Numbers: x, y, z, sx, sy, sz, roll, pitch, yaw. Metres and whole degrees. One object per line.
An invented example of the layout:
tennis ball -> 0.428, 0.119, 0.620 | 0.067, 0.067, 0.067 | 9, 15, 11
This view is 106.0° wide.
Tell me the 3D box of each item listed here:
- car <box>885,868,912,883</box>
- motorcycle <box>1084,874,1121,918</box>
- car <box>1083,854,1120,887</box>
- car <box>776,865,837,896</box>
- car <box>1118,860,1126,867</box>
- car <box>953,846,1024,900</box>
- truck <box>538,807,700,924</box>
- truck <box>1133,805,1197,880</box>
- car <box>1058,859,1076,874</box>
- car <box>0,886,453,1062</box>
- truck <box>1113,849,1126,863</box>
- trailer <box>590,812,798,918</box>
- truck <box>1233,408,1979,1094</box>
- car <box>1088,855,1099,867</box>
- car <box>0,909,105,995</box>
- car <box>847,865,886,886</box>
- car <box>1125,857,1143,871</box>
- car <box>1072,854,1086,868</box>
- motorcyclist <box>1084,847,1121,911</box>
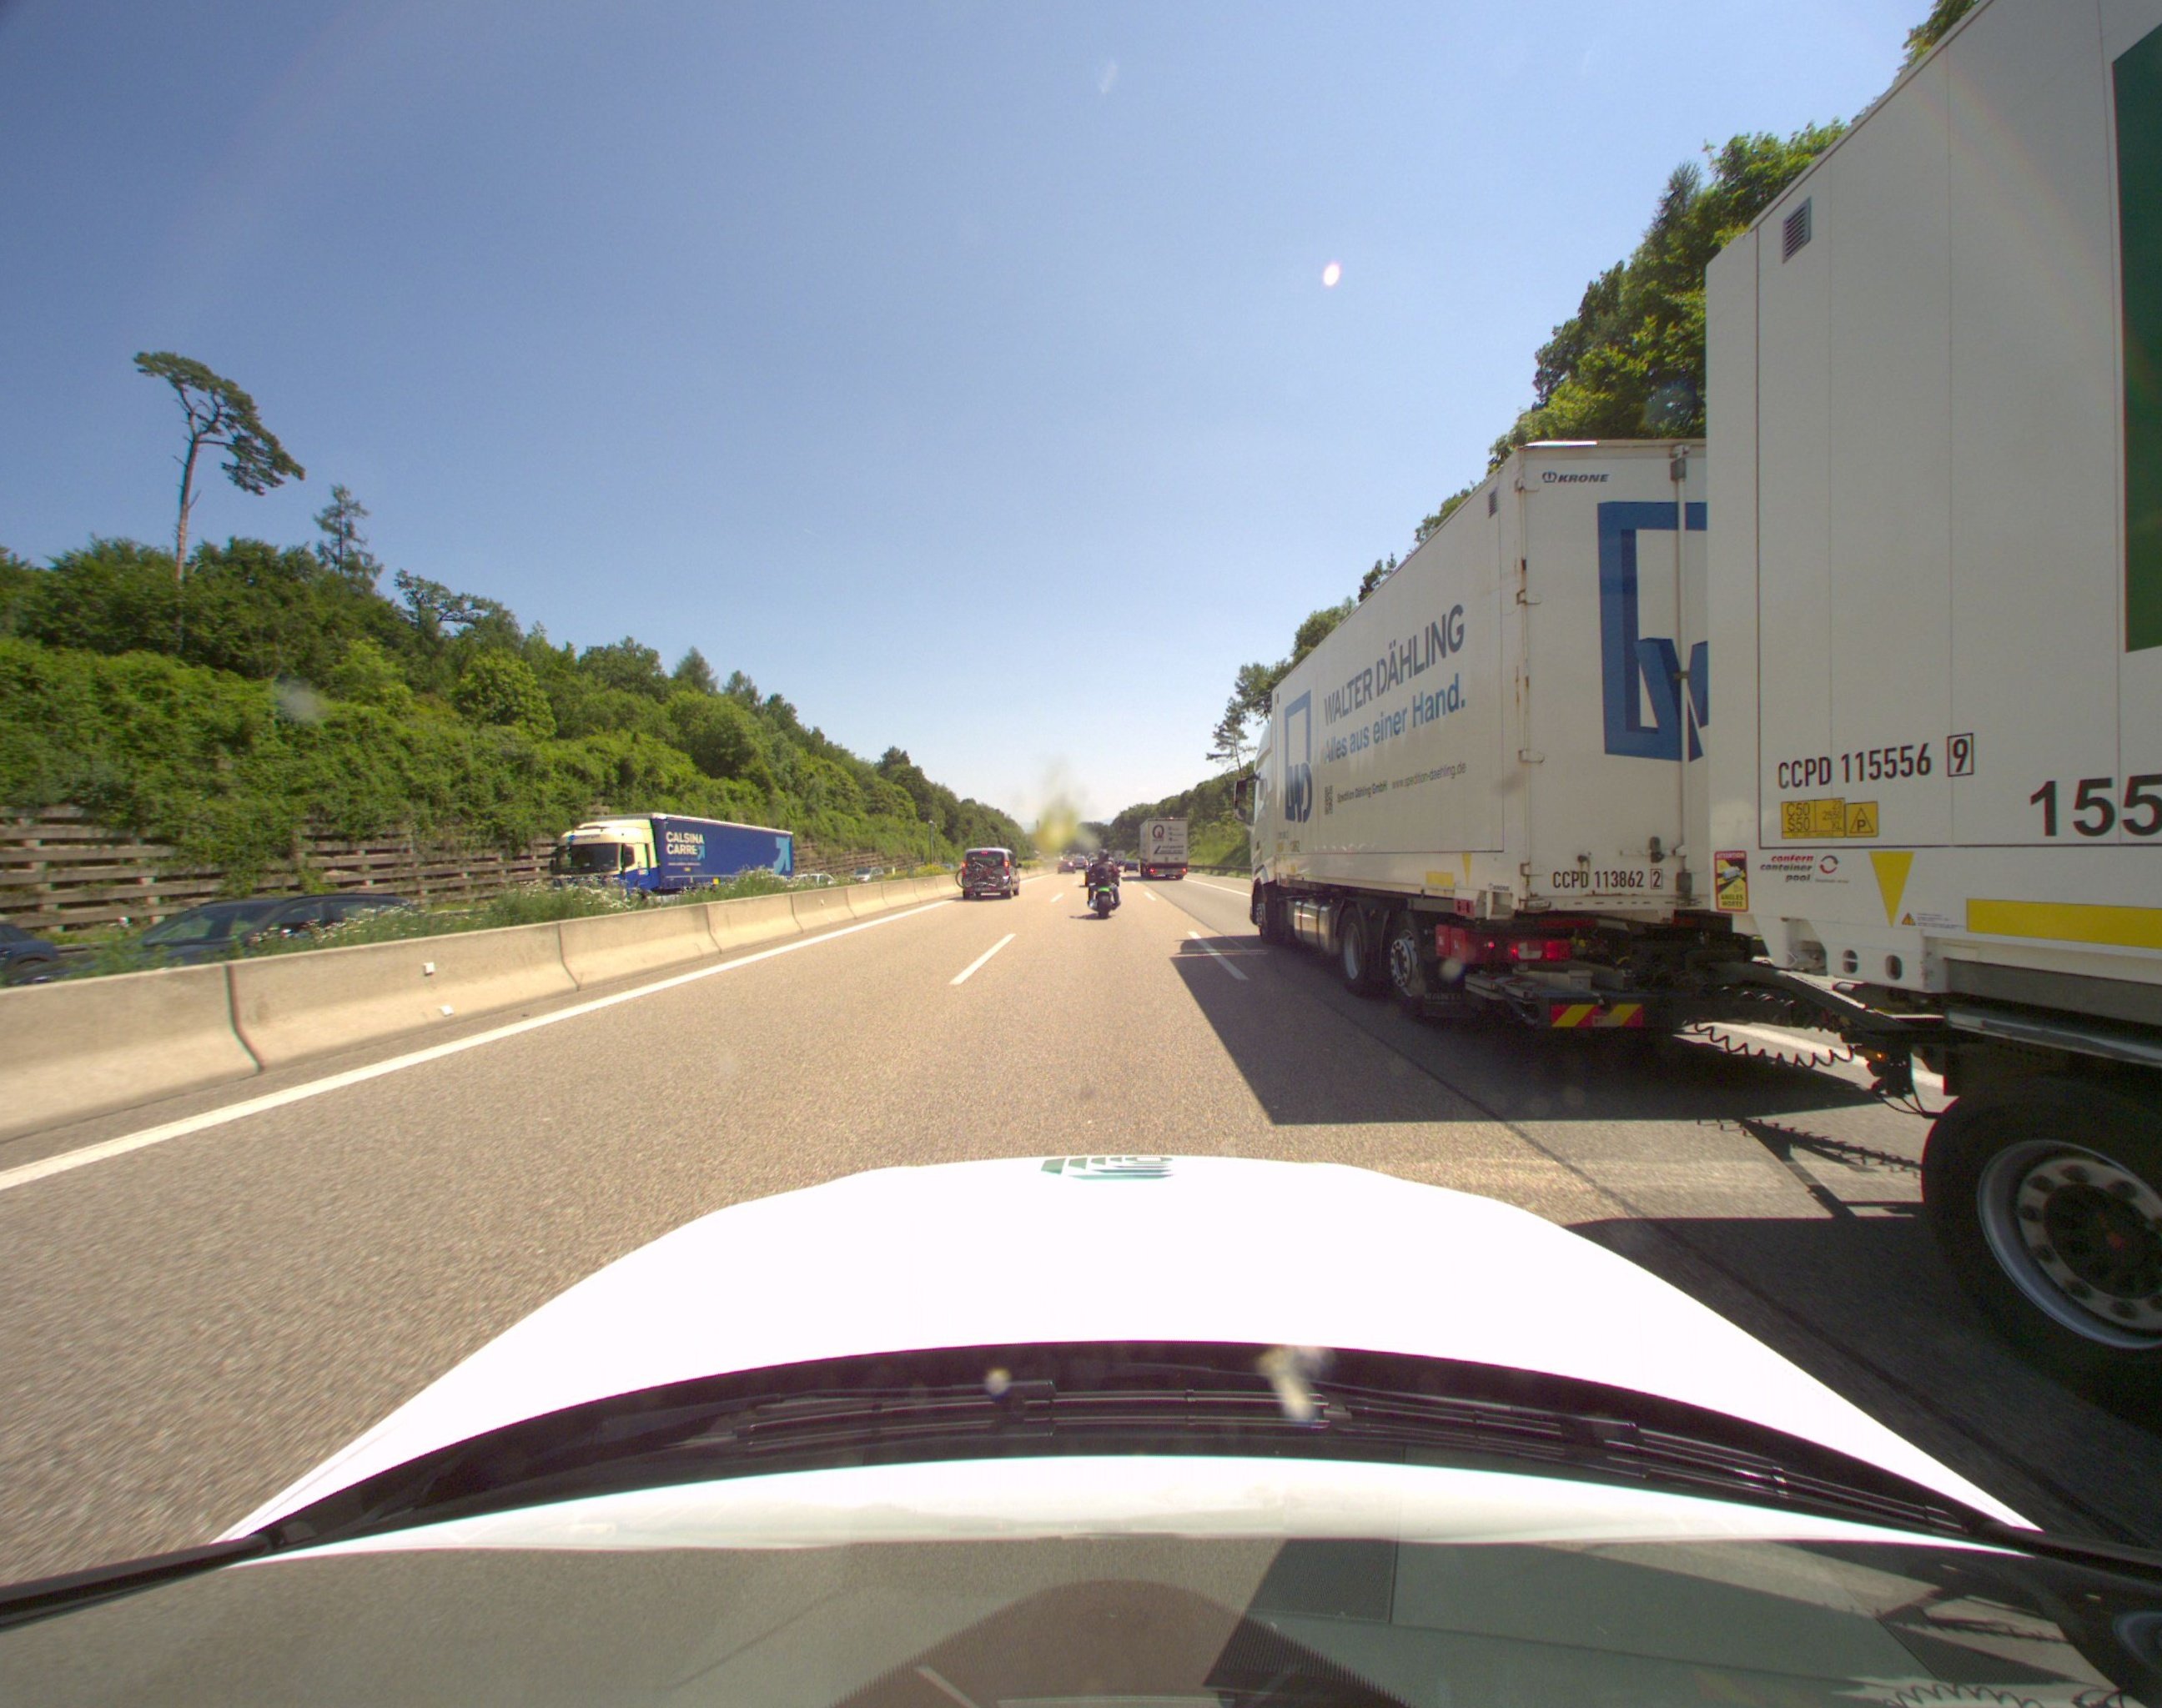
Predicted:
car -> -20.410, 2.431, 91.118 | 1.930, 1.522, 4.204 | -2, 0, 1
motorcycle -> 0.553, 1.007, 20.124 | 0.859, 0.982, 2.132 | -1, 0, 2
car -> 1.059, 0.826, 42.473 | 1.839, 1.557, 4.441 | 0, 1, 1
car -> -13.649, 1.308, 40.723 | 1.651, 1.376, 3.714 | 1, 0, 2
car -> 9.318, 2.178, 185.727 | 1.824, 1.558, 4.121 | 0, 1, 1
car -> -3.343, 0.643, 30.516 | 1.891, 1.848, 5.484 | 0, 0, 1
truck -> -17.531, 0.391, 31.404 | 2.670, 4.030, 5.932 | -1, 0, 1
truck -> 5.921, -0.791, 60.757 | 3.371, 4.718, 17.715 | 1, 0, 2
car -> -1.449, 1.305, 87.195 | 1.751, 1.543, 4.396 | 0, 1, 1
car -> -10.769, 1.333, 10.517 | 1.721, 1.526, 4.375 | -2, 1, 2
truck -> 9.821, 0.522, 208.548 | 3.056, 3.346, 9.655 | 1, 0, 2
trailer -> -17.357, 0.369, 38.449 | 2.670, 4.015, 14.192 | -1, 0, 1
truck -> 4.108, -0.643, 10.153 | 2.670, 4.059, 10.628 | 0, 0, 1
car -> 2.011, 1.141, 132.692 | 1.824, 1.810, 4.121 | 0, 1, 1
car -> -21.621, 1.981, 15.029 | 1.778, 1.526, 4.375 | -2, 1, 2
car -> -17.115, 1.698, 65.182 | 1.651, 1.453, 4.925 | -1, 0, 2
car -> 6.040, 1.136, 93.461 | 1.824, 1.558, 4.121 | 0, 1, 1
car -> -0.253, 0.983, 113.230 | 1.824, 1.810, 4.121 | 0, 1, 1
motorcyclist -> 0.539, 0.605, 20.025 | 0.852, 1.515, 0.914 | -1, 0, 2
